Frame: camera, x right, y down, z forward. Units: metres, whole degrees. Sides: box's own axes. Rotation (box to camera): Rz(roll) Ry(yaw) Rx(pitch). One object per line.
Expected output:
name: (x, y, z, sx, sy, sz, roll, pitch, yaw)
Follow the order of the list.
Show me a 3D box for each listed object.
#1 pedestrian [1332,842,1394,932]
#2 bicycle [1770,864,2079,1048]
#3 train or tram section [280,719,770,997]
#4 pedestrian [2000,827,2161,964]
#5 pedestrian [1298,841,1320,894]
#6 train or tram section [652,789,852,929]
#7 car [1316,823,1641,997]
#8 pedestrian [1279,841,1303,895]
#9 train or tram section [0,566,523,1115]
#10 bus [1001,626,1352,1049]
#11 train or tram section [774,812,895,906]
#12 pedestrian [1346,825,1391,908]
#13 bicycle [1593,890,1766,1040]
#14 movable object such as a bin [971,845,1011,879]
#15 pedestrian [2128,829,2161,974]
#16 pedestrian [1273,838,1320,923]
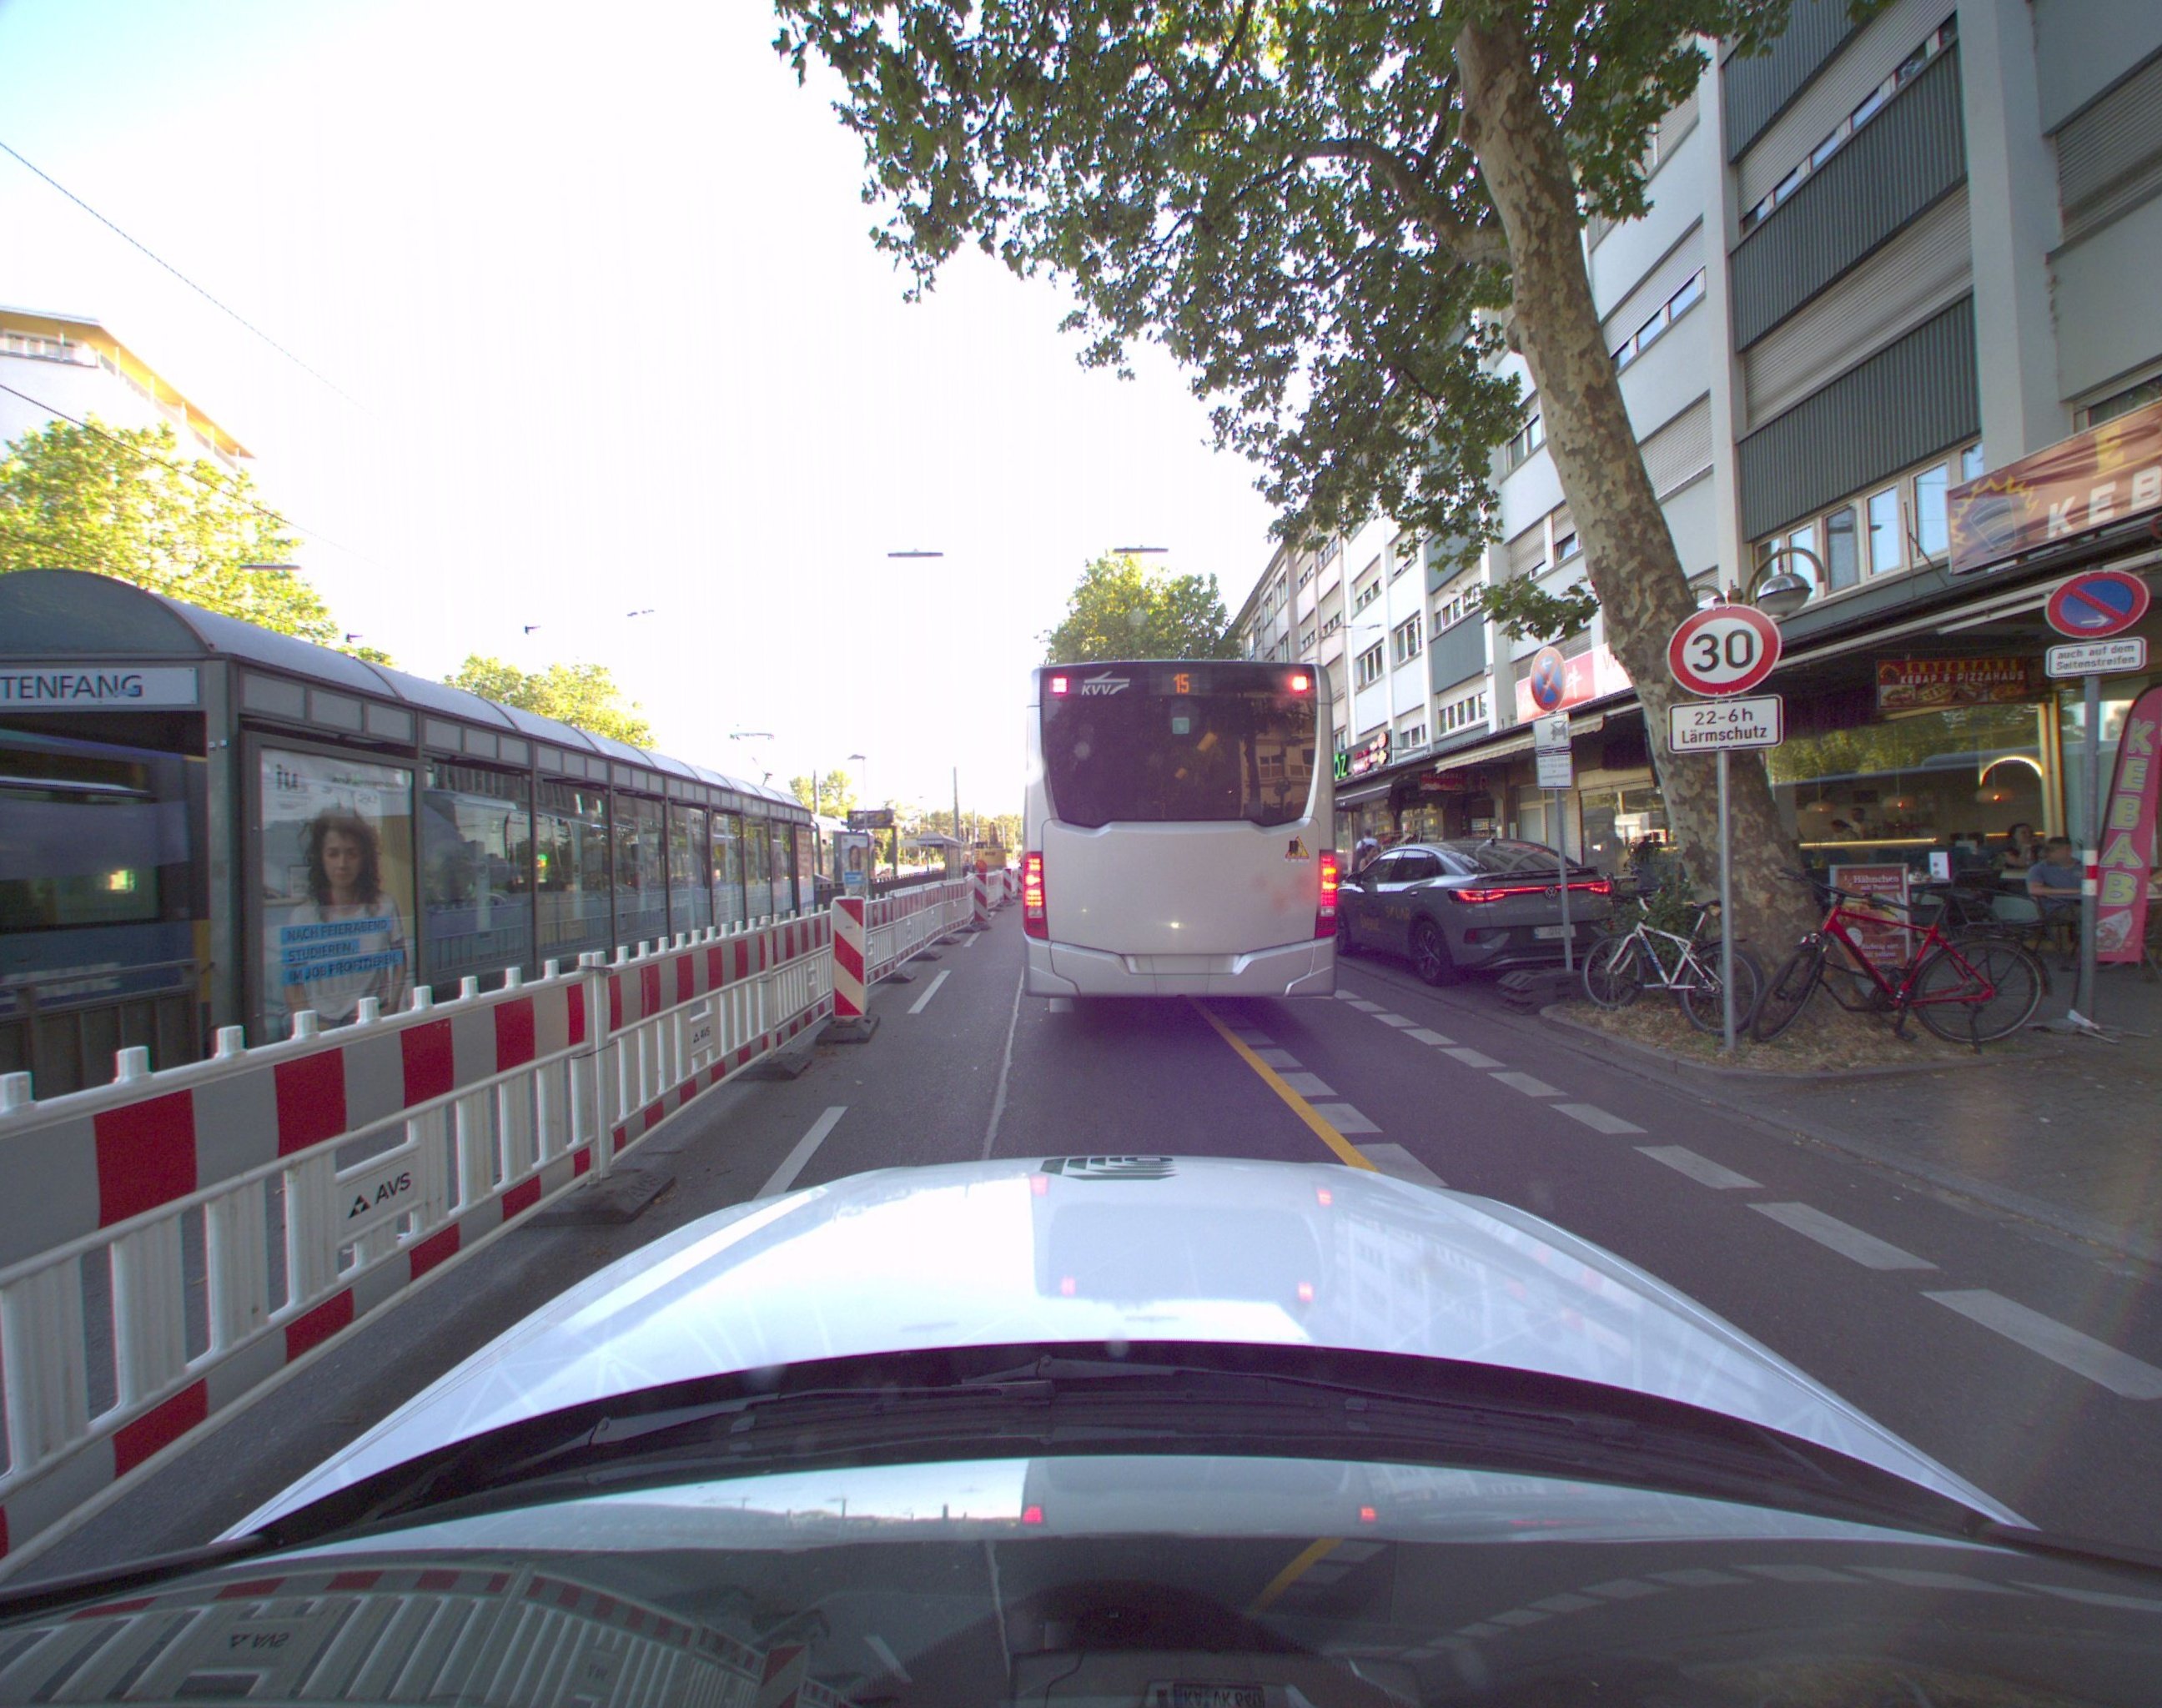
pedestrian: (5.187, 0.592, 14.974, 0.742, 1.581, 0.882, -3, -1, 40)
bicycle: (5.496, 0.677, 5.357, 1.450, 1.066, 0.297, -6, 2, 13)
train or tram section: (-9.068, 0.073, 15.603, 2.866, 3.487, 10.322, -2, 0, -4)
pedestrian: (9.625, 0.387, 7.834, 0.673, 1.203, 0.706, -5, -1, 11)
pedestrian: (8.779, 0.516, 31.352, 0.610, 2.014, 0.696, -2, -1, 1)
train or tram section: (-9.844, 0.167, 25.934, 2.830, 3.487, 10.321, -2, 0, -5)
car: (4.591, 0.567, 10.260, 1.736, 1.597, 4.294, -4, 0, -3)
pedestrian: (8.050, 0.536, 31.275, 0.688, 2.014, 0.696, -2, -1, 1)
train or tram section: (-8.285, -0.059, 5.290, 2.830, 3.487, 10.321, -2, 0, -4)
bus: (0.919, -0.117, 11.349, 2.598, 3.170, 10.296, -1, 0, 2)
train or tram section: (-10.573, 0.224, 36.211, 2.811, 3.487, 10.323, -2, 0, -4)
pedestrian: (7.192, 0.314, 20.405, 0.766, 2.013, 0.714, -3, -1, 1)
bicycle: (4.483, 0.790, 6.176, 0.294, 0.927, 1.127, -6, 2, -8)
movable object such as a bin: (-7.042, 0.619, 63.994, 2.800, 2.462, 3.995, -2, 0, -3)
pedestrian: (9.563, 0.391, 6.797, 0.612, 1.243, 0.714, -5, -1, 11)
pedestrian: (4.538, 0.541, 17.160, 0.750, 1.726, 0.660, -2, -1, -1)
